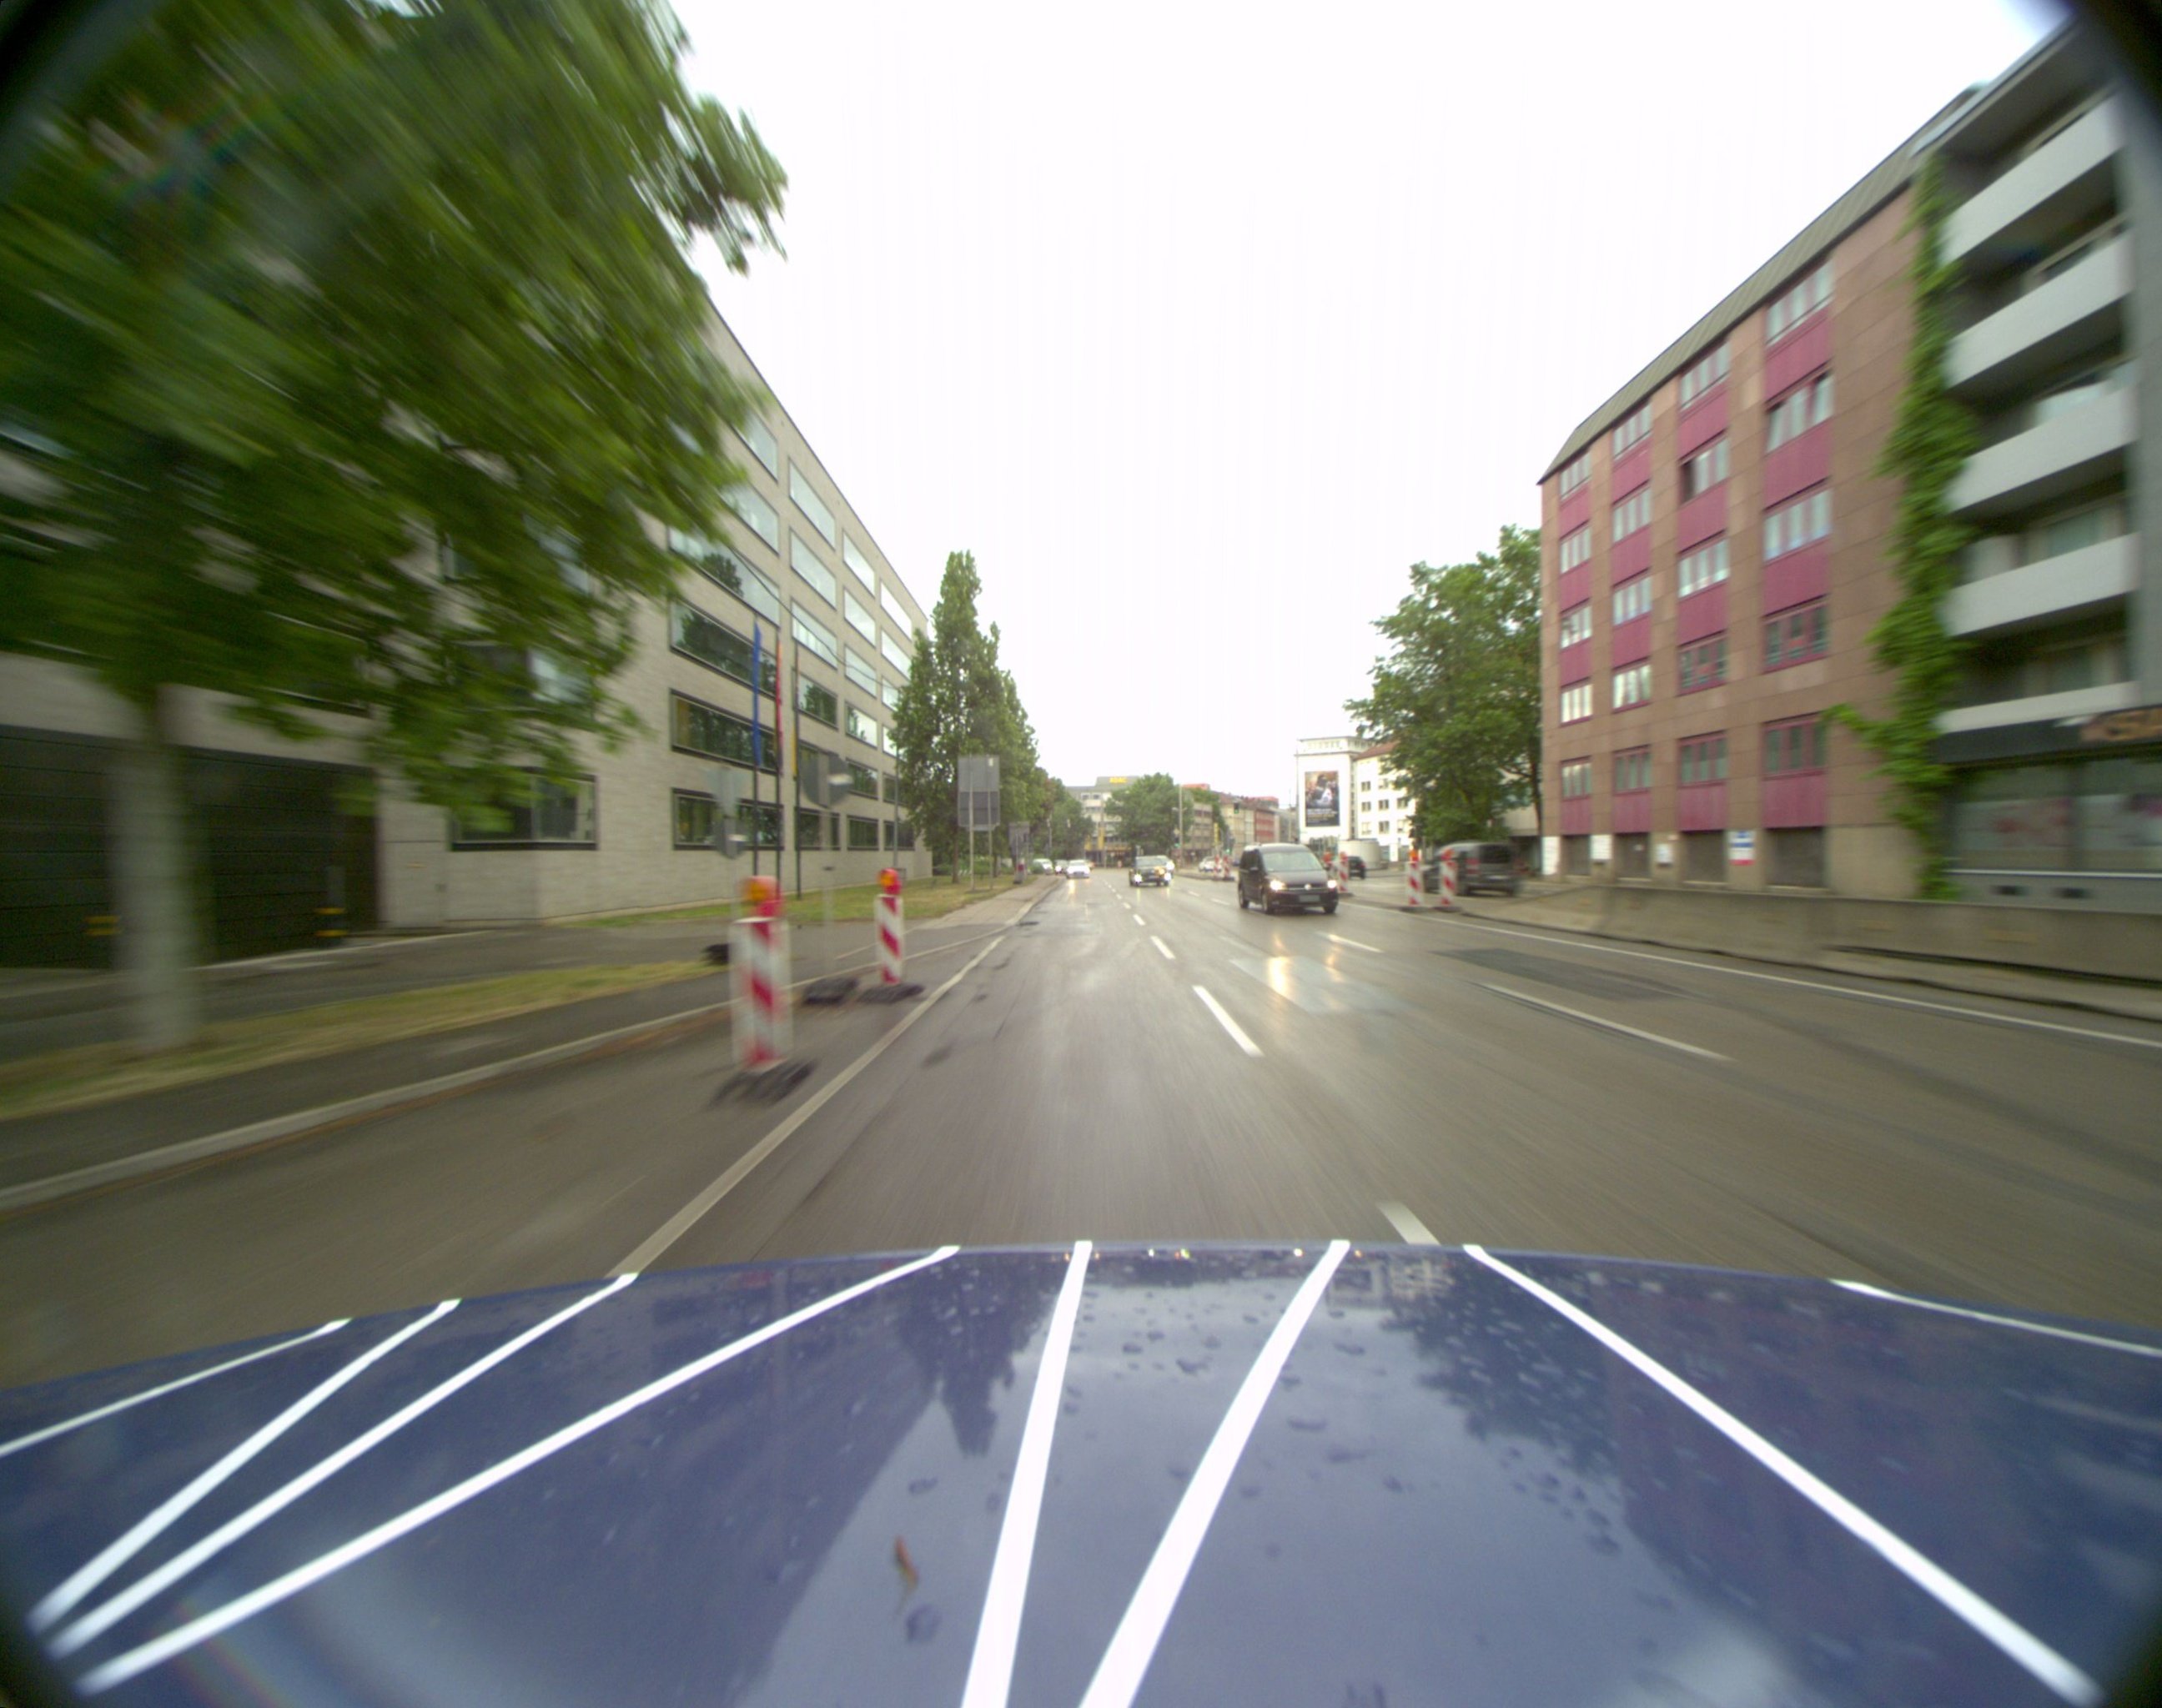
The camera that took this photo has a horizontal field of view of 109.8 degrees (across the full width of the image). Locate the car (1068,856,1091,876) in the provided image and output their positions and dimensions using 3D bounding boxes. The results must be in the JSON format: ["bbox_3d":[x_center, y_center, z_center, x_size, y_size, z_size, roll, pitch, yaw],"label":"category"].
[{"bbox_3d":[-0.107,0.968,63.567,1.847,1.566,4.000,0,0,2],"label":"car"}]

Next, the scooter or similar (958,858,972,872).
[{"bbox_3d":[-11.172,1.082,73.042,1.241,1.305,0.472,0,1,-3],"label":"scooter or similar"}]

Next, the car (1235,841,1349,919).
[{"bbox_3d":[5.407,0.609,20.050,1.795,1.789,4.125,-1,0,-1],"label":"car"}]

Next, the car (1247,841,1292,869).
[{"bbox_3d":[13.846,0.048,56.113,1.998,1.979,5.288,0,0,0],"label":"car"}]

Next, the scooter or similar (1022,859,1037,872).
[{"bbox_3d":[-4.846,1.040,71.906,0.687,1.194,1.341,0,1,38],"label":"scooter or similar"}]

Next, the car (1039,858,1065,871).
[{"bbox_3d":[-3.942,1.402,102.267,1.852,1.566,3.990,-1,1,-29],"label":"car"}]

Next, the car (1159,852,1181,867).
[{"bbox_3d":[10.453,0.628,89.599,1.999,1.667,4.937,0,0,-1],"label":"car"}]

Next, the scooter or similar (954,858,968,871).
[{"bbox_3d":[-11.611,1.031,73.559,1.241,1.305,0.472,0,1,-3],"label":"scooter or similar"}]

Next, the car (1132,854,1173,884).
[{"bbox_3d":[3.832,0.803,41.350,1.930,1.532,4.000,-1,0,1],"label":"car"}]

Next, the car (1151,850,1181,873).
[{"bbox_3d":[6.149,0.524,55.264,1.847,1.566,4.000,0,0,2],"label":"car"}]

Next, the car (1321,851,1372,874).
[{"bbox_3d":[16.664,0.500,47.889,1.703,1.391,4.019,0,0,-2],"label":"car"}]

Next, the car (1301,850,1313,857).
[{"bbox_3d":[49.217,-0.178,165.442,1.871,1.568,4.007,0,0,27],"label":"car"}]

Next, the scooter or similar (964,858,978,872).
[{"bbox_3d":[-10.486,1.061,72.528,1.241,1.305,0.554,0,1,-3],"label":"scooter or similar"}]

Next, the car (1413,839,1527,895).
[{"bbox_3d":[13.173,0.405,26.071,1.725,1.760,4.425,0,0,1],"label":"car"}]

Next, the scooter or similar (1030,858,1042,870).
[{"bbox_3d":[-4.333,0.995,72.757,0.638,1.122,1.590,-1,1,-25],"label":"scooter or similar"}]

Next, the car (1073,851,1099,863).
[{"bbox_3d":[0.673,0.392,108.972,1.775,1.672,4.580,-1,0,-27],"label":"car"}]

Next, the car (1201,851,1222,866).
[{"bbox_3d":[12.798,0.446,74.786,1.559,1.475,2.949,0,-1,1],"label":"car"}]
